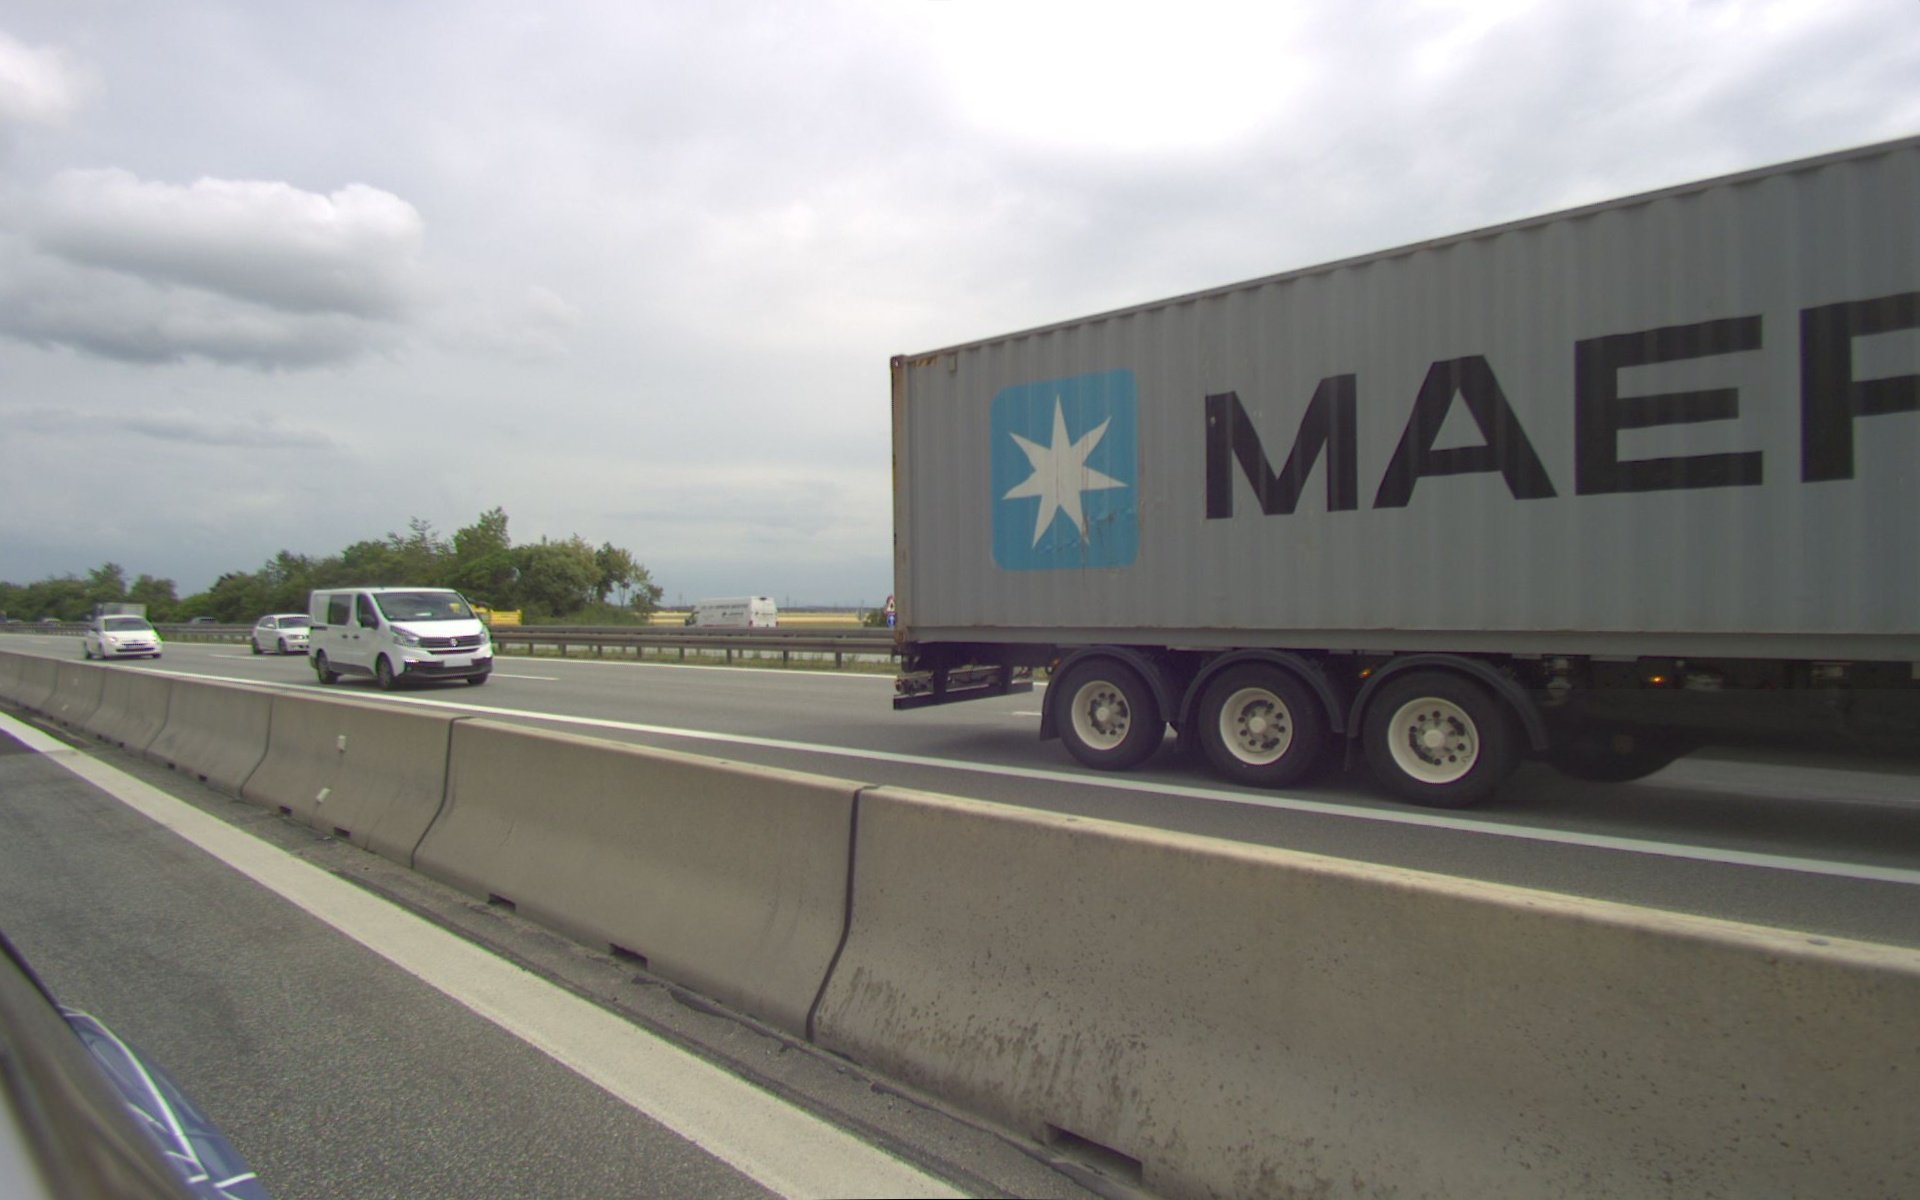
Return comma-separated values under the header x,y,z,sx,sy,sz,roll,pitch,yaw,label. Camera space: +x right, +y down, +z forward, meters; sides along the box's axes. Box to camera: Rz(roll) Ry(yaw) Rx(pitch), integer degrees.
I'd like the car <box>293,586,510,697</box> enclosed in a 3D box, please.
x,y,z,sx,sy,sz,roll,pitch,yaw,label
-11.296,0.755,20.304,5.125,1.952,1.980,-1,0,39,car

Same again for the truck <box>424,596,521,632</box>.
x,y,z,sx,sy,sz,roll,pitch,yaw,label
-39.033,1.137,80.952,8.754,2.795,2.884,-1,-1,33,truck

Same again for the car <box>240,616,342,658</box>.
x,y,z,sx,sy,sz,roll,pitch,yaw,label
-23.771,1.278,35.912,4.199,1.379,1.736,-1,-1,37,car

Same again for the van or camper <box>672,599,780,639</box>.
x,y,z,sx,sy,sz,roll,pitch,yaw,label
-12.793,1.038,55.031,6.267,2.029,2.215,-1,-1,37,van or camper

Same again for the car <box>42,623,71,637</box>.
x,y,z,sx,sy,sz,roll,pitch,yaw,label
-94.067,3.089,105.384,3.999,1.434,1.872,-1,-1,42,car

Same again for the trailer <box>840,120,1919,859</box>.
x,y,z,sx,sy,sz,roll,pitch,yaw,label
4.579,-0.587,7.926,12.365,3.954,3.205,-1,0,39,trailer

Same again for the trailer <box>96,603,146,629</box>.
x,y,z,sx,sy,sz,roll,pitch,yaw,label
-109.667,2.088,132.208,9.812,3.294,3.167,-1,0,39,trailer

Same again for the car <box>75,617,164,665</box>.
x,y,z,sx,sy,sz,roll,pitch,yaw,label
-28.642,1.359,34.457,3.771,1.496,1.664,-1,0,40,car
